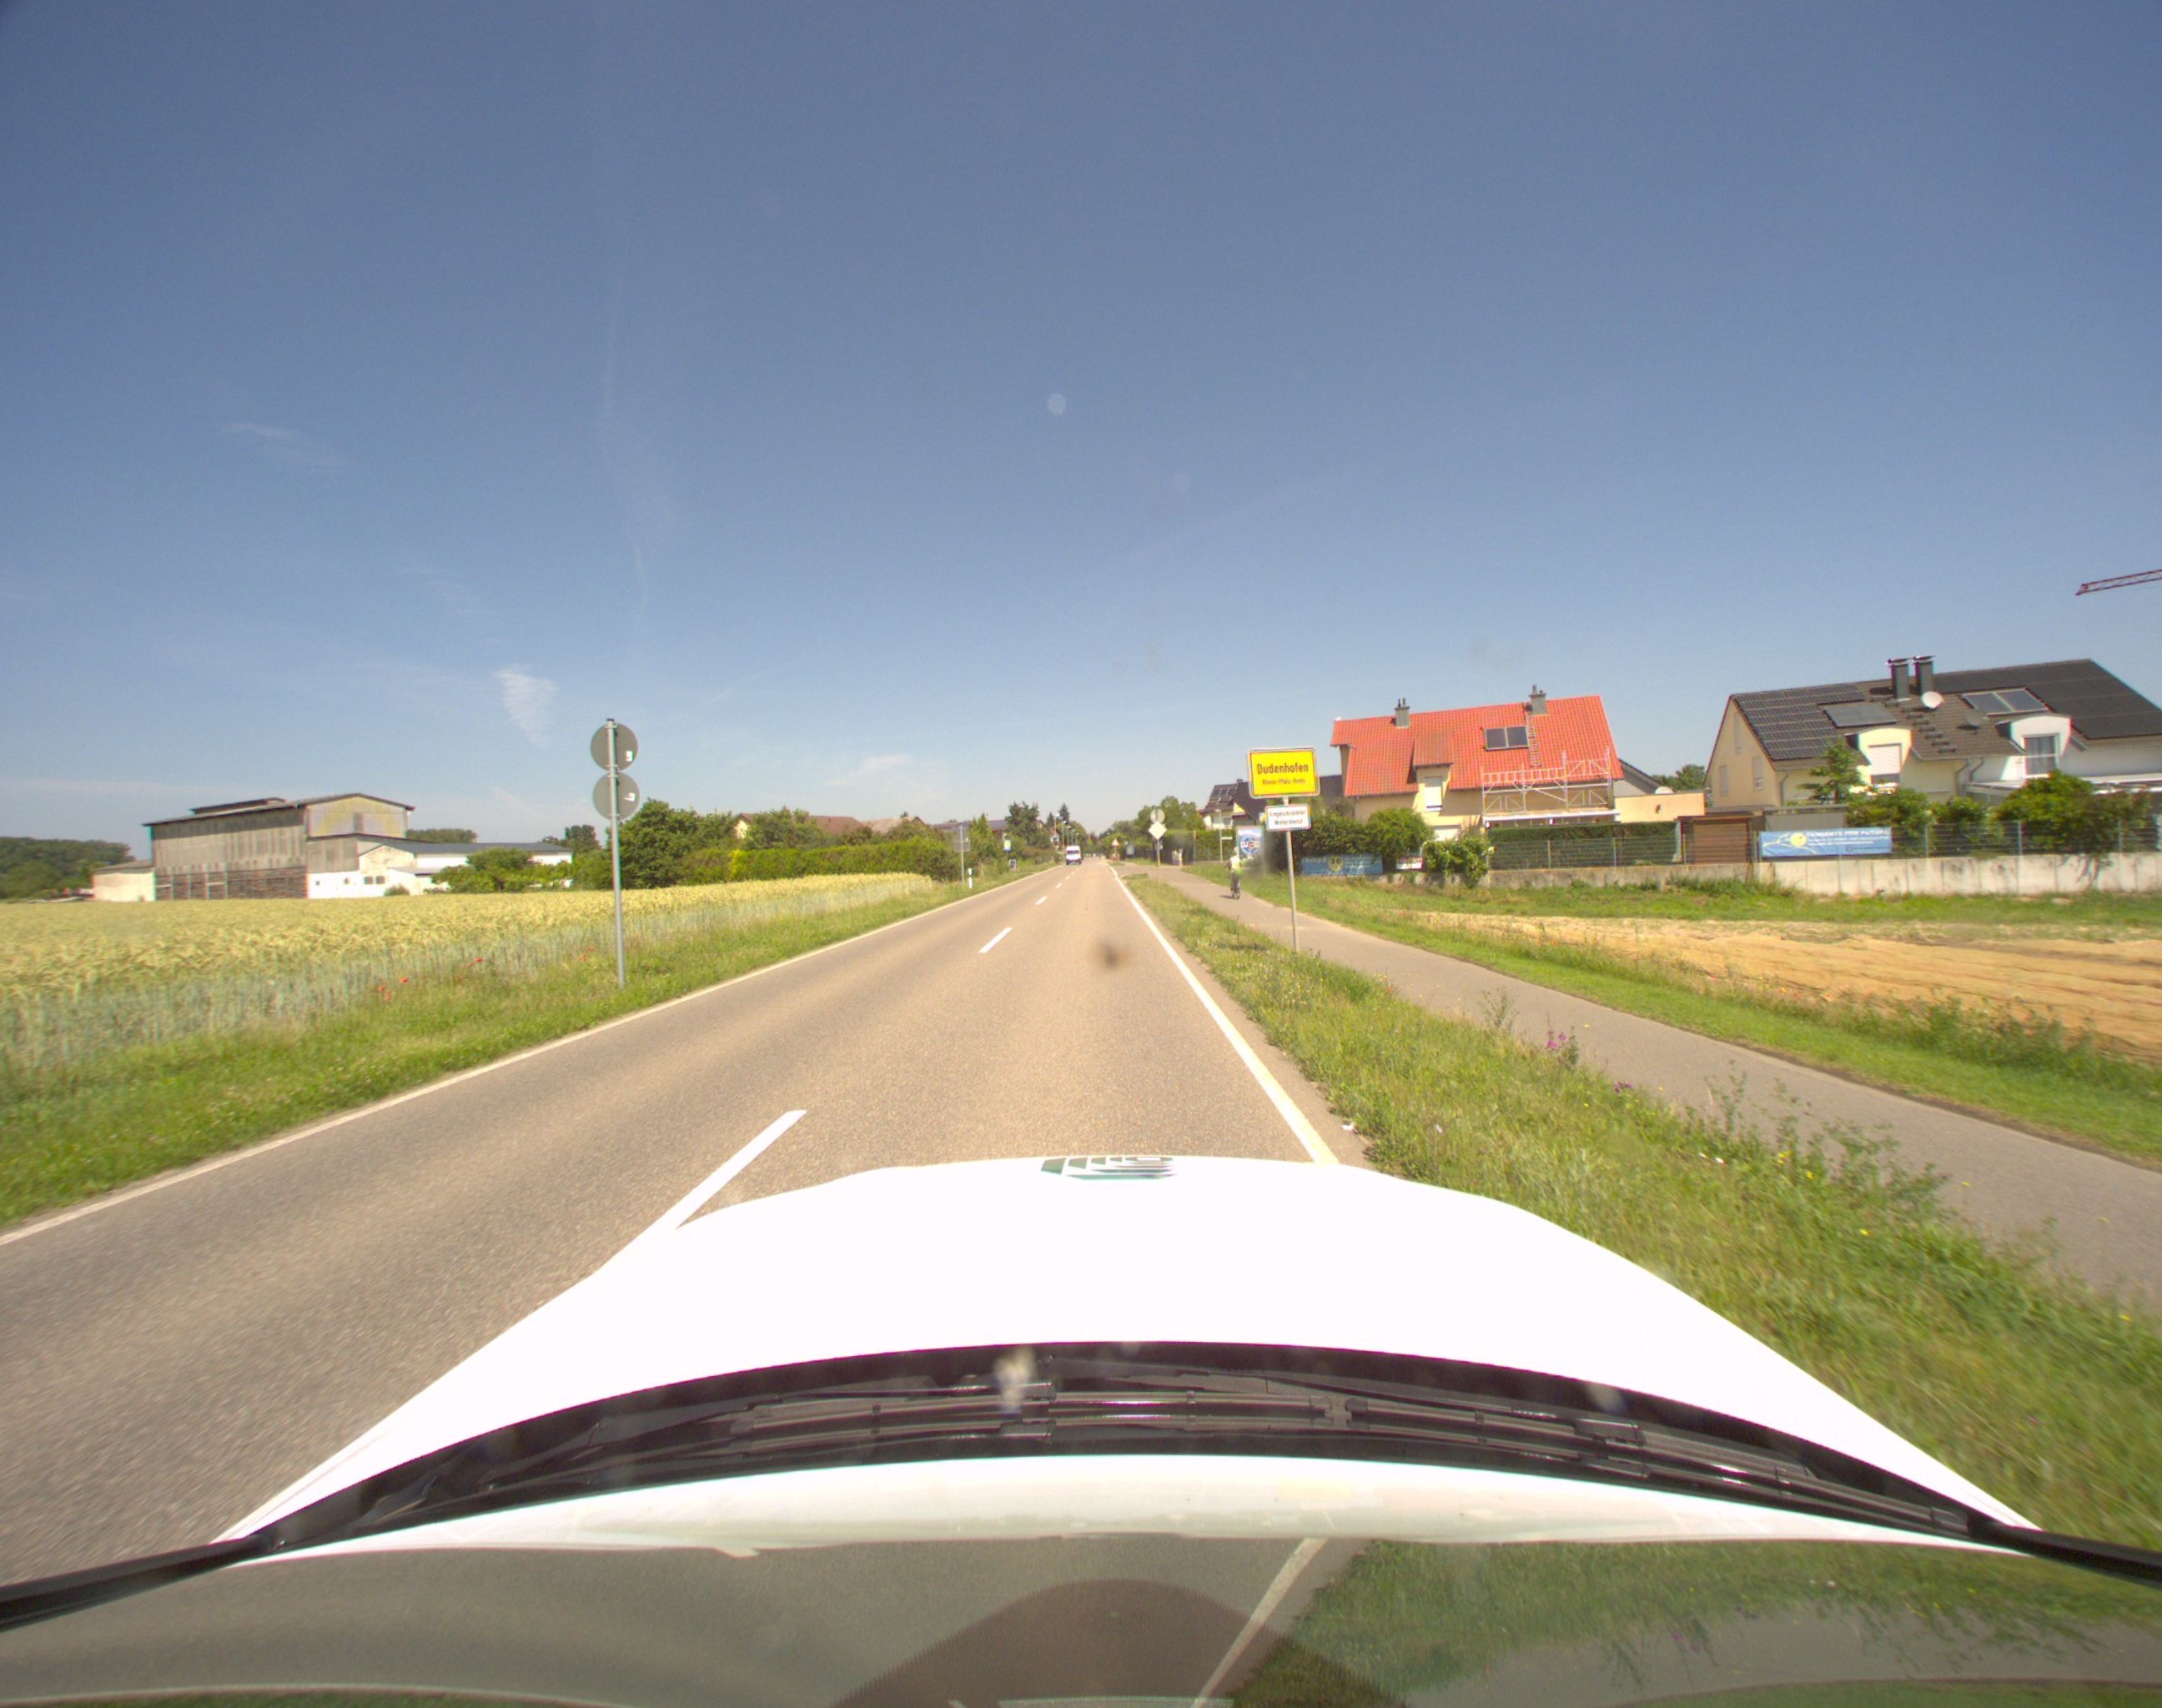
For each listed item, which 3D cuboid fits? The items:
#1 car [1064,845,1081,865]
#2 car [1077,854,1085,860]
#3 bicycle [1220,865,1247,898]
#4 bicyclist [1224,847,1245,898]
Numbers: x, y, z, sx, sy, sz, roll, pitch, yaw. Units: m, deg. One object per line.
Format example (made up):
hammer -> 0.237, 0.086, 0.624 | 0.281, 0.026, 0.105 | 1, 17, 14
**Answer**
car -> -1.103, 0.062, 110.199 | 2.070, 2.542, 5.874 | -3, 0, 1
car -> -0.035, 0.745, 205.466 | 1.753, 1.385, 3.453 | -3, 0, 0
bicycle -> 5.835, 1.043, 31.291 | 0.608, 1.158, 2.274 | -1, 1, 1
bicyclist -> 5.828, 0.679, 30.989 | 0.643, 1.889, 0.861 | -1, 1, 0
